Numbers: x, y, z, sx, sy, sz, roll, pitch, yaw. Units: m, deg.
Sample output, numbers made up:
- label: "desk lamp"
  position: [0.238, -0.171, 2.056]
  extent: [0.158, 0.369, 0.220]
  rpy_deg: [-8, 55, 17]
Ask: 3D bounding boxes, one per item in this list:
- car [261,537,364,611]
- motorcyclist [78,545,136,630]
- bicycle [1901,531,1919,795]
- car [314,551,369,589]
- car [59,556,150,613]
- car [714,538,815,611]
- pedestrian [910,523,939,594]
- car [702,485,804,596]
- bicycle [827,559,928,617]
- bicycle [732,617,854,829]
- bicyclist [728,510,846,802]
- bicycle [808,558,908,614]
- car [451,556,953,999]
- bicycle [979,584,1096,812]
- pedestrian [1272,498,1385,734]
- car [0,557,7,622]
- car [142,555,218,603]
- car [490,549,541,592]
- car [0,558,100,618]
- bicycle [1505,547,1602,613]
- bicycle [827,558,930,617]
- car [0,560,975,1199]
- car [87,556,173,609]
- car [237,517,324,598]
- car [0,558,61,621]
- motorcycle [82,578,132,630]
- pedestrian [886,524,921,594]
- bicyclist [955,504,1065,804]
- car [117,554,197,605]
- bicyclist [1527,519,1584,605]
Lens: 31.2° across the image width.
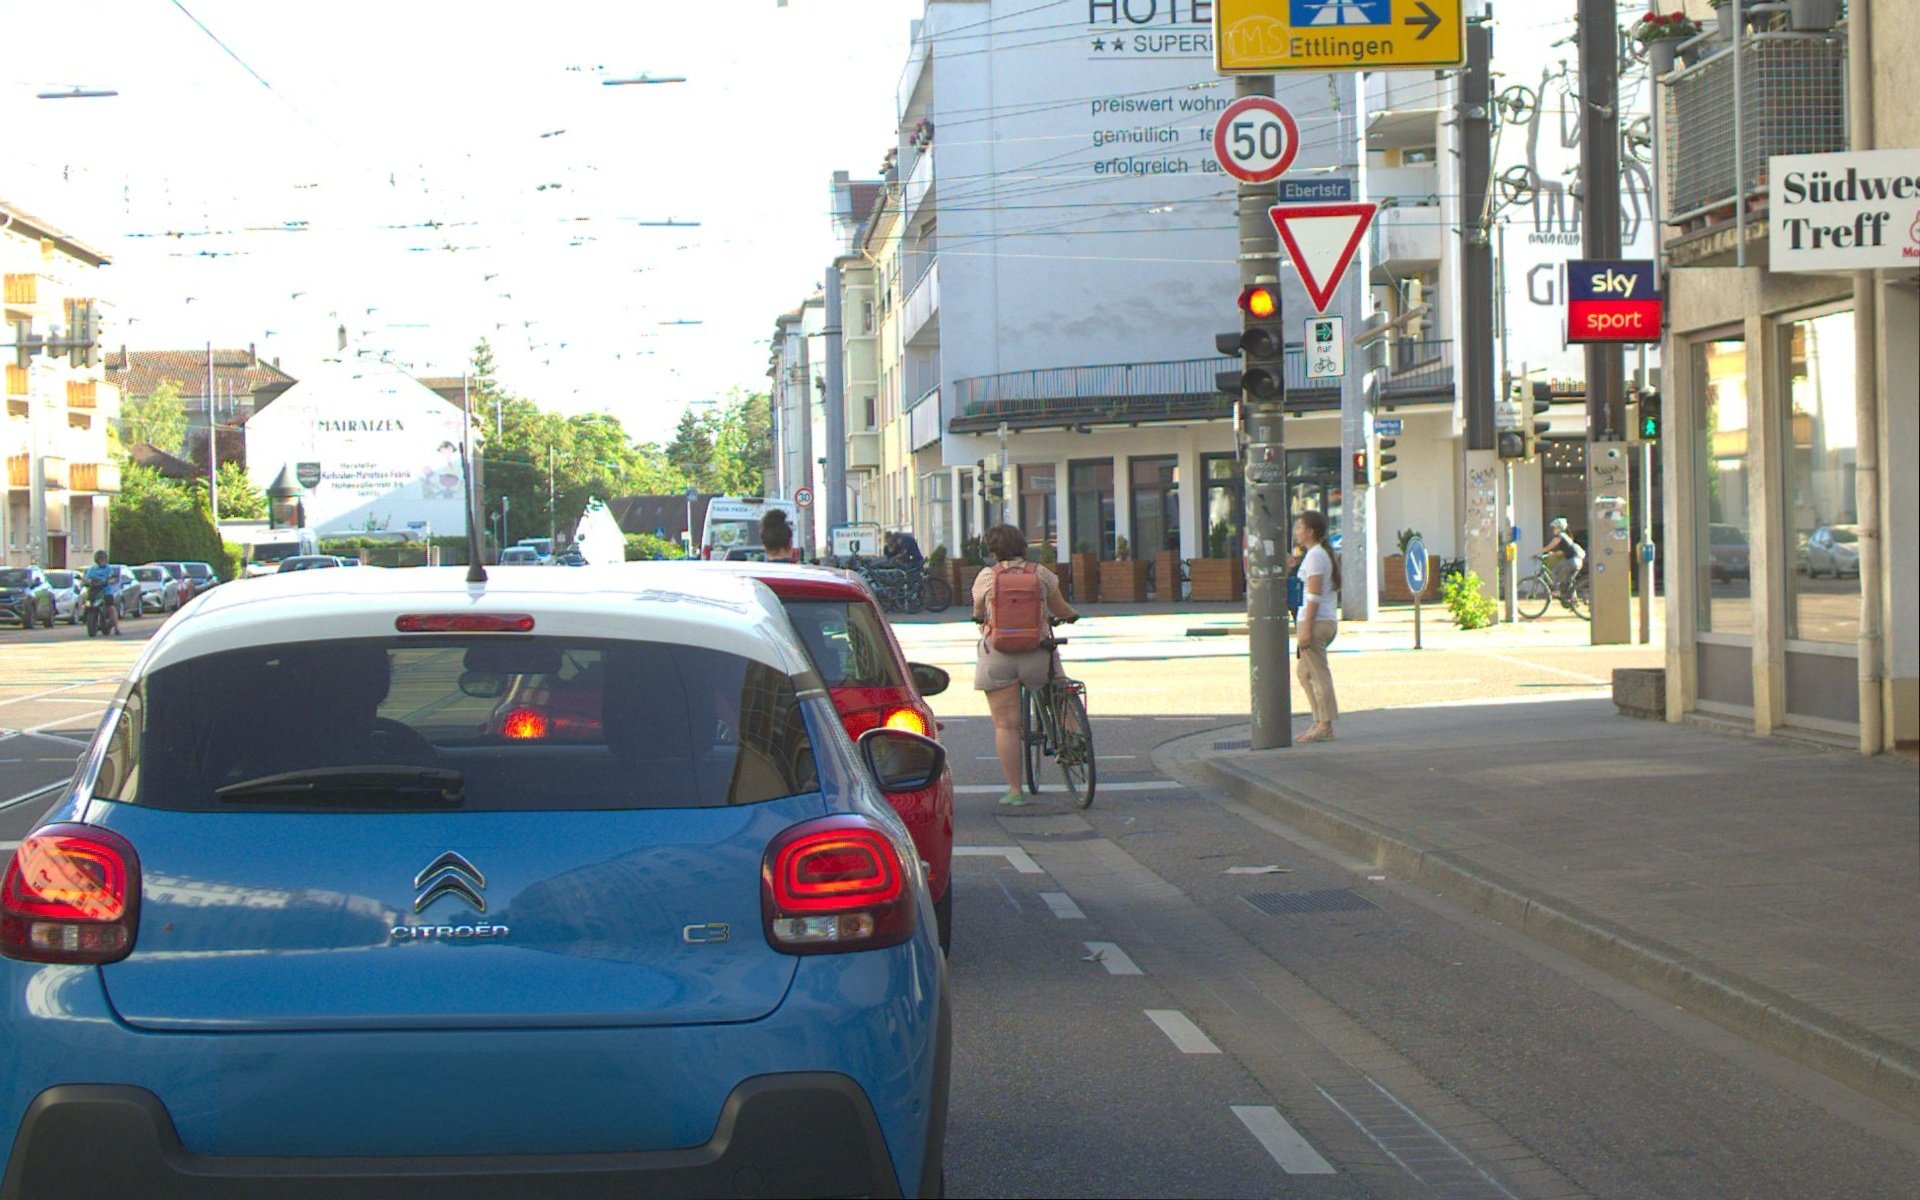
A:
- label: "car"
  position: [-15.072, -0.630, 80.241]
  extent: [2.004, 1.622, 5.054]
  rpy_deg: [-1, 1, -7]
- label: "motorcyclist"
  position: [-16.676, -0.252, 67.220]
  extent: [0.991, 1.625, 0.739]
  rpy_deg: [-1, 1, -9]
- label: "bicycle"
  position: [4.915, 0.311, 15.761]
  extent: [0.640, 1.260, 1.911]
  rpy_deg: [-1, 1, -1]
- label: "car"
  position: [-25.982, -1.278, 144.576]
  extent: [1.950, 1.514, 4.001]
  rpy_deg: [-1, 1, -6]
- label: "car"
  position: [-24.462, -0.457, 98.381]
  extent: [1.950, 1.514, 4.001]
  rpy_deg: [-1, 1, -6]
- label: "car"
  position: [-3.884, -0.516, 67.813]
  extent: [1.786, 1.354, 3.915]
  rpy_deg: [-1, 1, -6]
- label: "pedestrian"
  position: [-0.722, -0.849, 70.015]
  extent: [0.467, 1.415, 0.527]
  rpy_deg: [-1, 1, -13]
- label: "car"
  position: [-4.434, -1.278, 73.249]
  extent: [2.079, 2.262, 5.652]
  rpy_deg: [0, 1, -4]
- label: "bicycle"
  position: [-1.609, -0.237, 67.128]
  extent: [1.904, 1.061, 0.642]
  rpy_deg: [-1, 1, -7]
- label: "bicycle"
  position: [-0.977, 0.678, 19.757]
  extent: [0.616, 1.099, 1.886]
  rpy_deg: [-1, 1, -5]
- label: "bicyclist"
  position: [-0.994, 0.305, 19.646]
  extent: [0.616, 1.624, 0.760]
  rpy_deg: [-1, 1, -4]
- label: "bicycle"
  position: [-2.028, -0.275, 68.321]
  extent: [1.904, 1.061, 0.642]
  rpy_deg: [-1, 1, -7]
- label: "car"
  position: [-1.005, 0.576, 13.593]
  extent: [1.680, 1.457, 4.001]
  rpy_deg: [0, 1, -4]
- label: "bicycle"
  position: [0.448, 0.558, 20.650]
  extent: [0.613, 1.260, 1.911]
  rpy_deg: [-1, 1, -1]
- label: "pedestrian"
  position: [2.602, 0.107, 24.317]
  extent: [0.751, 1.629, 0.740]
  rpy_deg: [-1, 1, 6]
- label: "car"
  position: [-23.323, -0.193, 79.232]
  extent: [1.950, 1.514, 4.001]
  rpy_deg: [-1, 1, -6]
- label: "car"
  position: [-26.072, -0.720, 115.006]
  extent: [1.950, 1.514, 4.001]
  rpy_deg: [-1, 1, -6]
- label: "car"
  position: [-22.051, -1.498, 170.848]
  extent: [2.338, 2.032, 5.051]
  rpy_deg: [-1, 1, -6]
- label: "car"
  position: [-24.309, -0.335, 91.954]
  extent: [1.950, 1.514, 4.001]
  rpy_deg: [-1, 1, -6]
- label: "bicycle"
  position: [10.076, -0.342, 58.340]
  extent: [1.492, 1.087, 0.604]
  rpy_deg: [0, 1, 37]
- label: "bicycle"
  position: [-1.559, -0.243, 65.822]
  extent: [1.904, 1.061, 0.642]
  rpy_deg: [-1, 1, -7]
- label: "car"
  position: [-0.958, 0.667, 7.383]
  extent: [1.680, 1.457, 4.001]
  rpy_deg: [0, 1, -4]
- label: "car"
  position: [-24.929, -0.541, 103.385]
  extent: [1.950, 1.514, 4.001]
  rpy_deg: [-1, 1, -6]
- label: "car"
  position: [-23.666, -1.503, 119.942]
  extent: [2.493, 2.703, 5.839]
  rpy_deg: [-1, 1, -7]
- label: "car"
  position: [-23.788, -0.267, 85.896]
  extent: [1.950, 1.514, 4.001]
  rpy_deg: [-1, 1, -6]
- label: "motorcycle"
  position: [-16.696, 0.073, 67.294]
  extent: [0.751, 0.973, 2.098]
  rpy_deg: [-1, 1, -9]
- label: "pedestrian"
  position: [-1.155, -0.846, 70.266]
  extent: [0.525, 1.415, 0.546]
  rpy_deg: [-1, 1, 20]
- label: "bicyclist"
  position: [0.291, 0.302, 20.608]
  extent: [0.600, 1.740, 1.084]
  rpy_deg: [-1, 1, -1]
- label: "car"
  position: [-25.363, -0.671, 108.664]
  extent: [1.950, 1.514, 4.001]
  rpy_deg: [-1, 1, -6]
- label: "bicyclist"
  position: [10.108, -0.642, 58.322]
  extent: [0.728, 1.429, 0.604]
  rpy_deg: [0, 1, 37]
